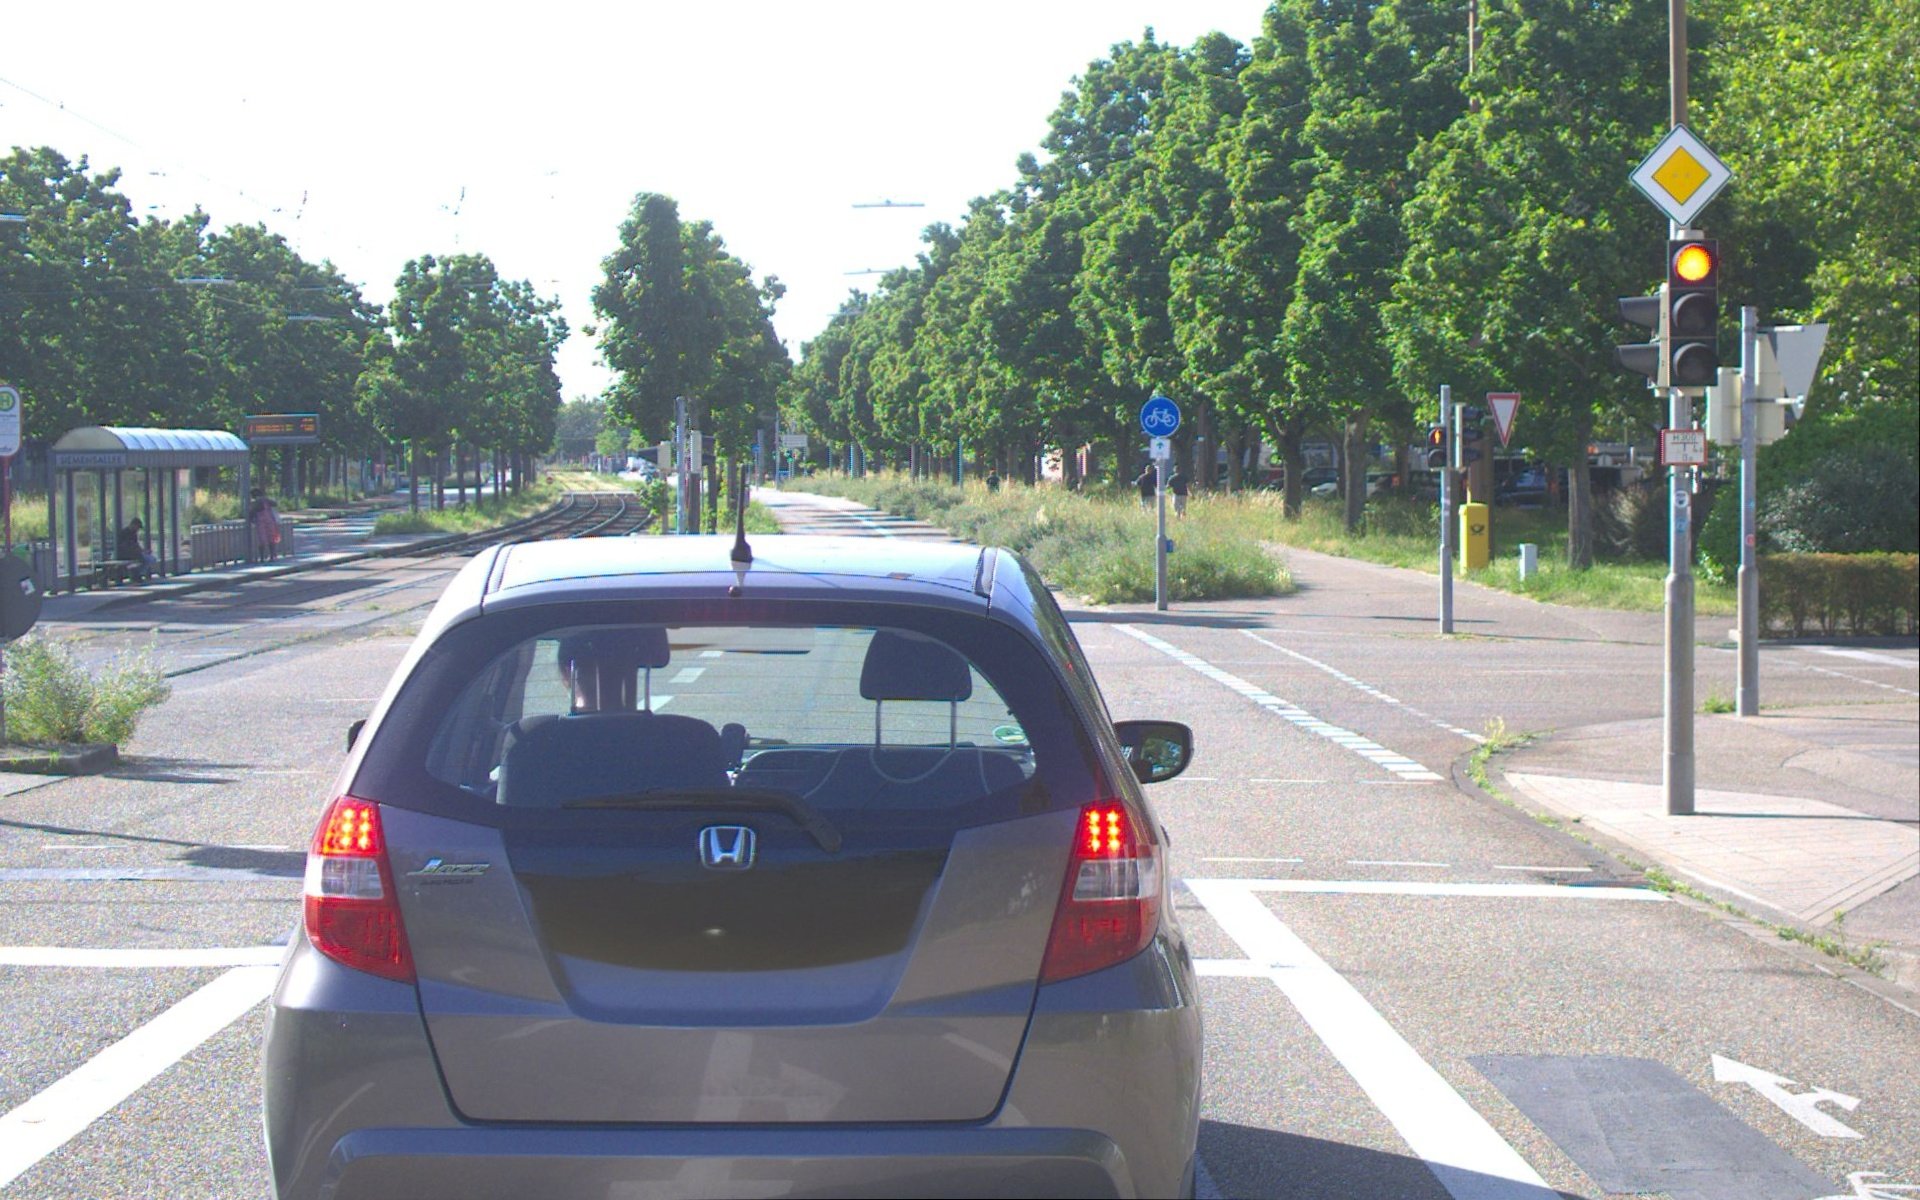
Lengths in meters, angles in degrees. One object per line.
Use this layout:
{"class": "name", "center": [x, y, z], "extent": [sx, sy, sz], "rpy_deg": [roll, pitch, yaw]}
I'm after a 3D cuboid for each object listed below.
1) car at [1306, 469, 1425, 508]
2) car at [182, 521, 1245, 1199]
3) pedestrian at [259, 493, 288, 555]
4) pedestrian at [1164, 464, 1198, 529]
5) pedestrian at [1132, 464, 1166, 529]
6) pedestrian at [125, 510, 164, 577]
{"class": "car", "center": [17.023, -4.695, 144.524], "extent": [4.630, 1.550, 2.001], "rpy_deg": [-1, 2, -6]}
{"class": "car", "center": [-0.419, 0.608, 7.384], "extent": [1.701, 1.518, 3.710], "rpy_deg": [0, 1, -1]}
{"class": "pedestrian", "center": [-15.998, -1.774, 80.089], "extent": [0.544, 1.442, 0.559], "rpy_deg": [-1, 1, -1]}
{"class": "pedestrian", "center": [6.447, -3.020, 100.286], "extent": [0.882, 1.877, 0.875], "rpy_deg": [-1, 2, -4]}
{"class": "pedestrian", "center": [5.507, -3.033, 100.272], "extent": [0.882, 1.877, 0.875], "rpy_deg": [-1, 2, -4]}
{"class": "pedestrian", "center": [-15.546, -1.081, 65.536], "extent": [0.563, 1.252, 0.581], "rpy_deg": [-3, 1, -1]}
